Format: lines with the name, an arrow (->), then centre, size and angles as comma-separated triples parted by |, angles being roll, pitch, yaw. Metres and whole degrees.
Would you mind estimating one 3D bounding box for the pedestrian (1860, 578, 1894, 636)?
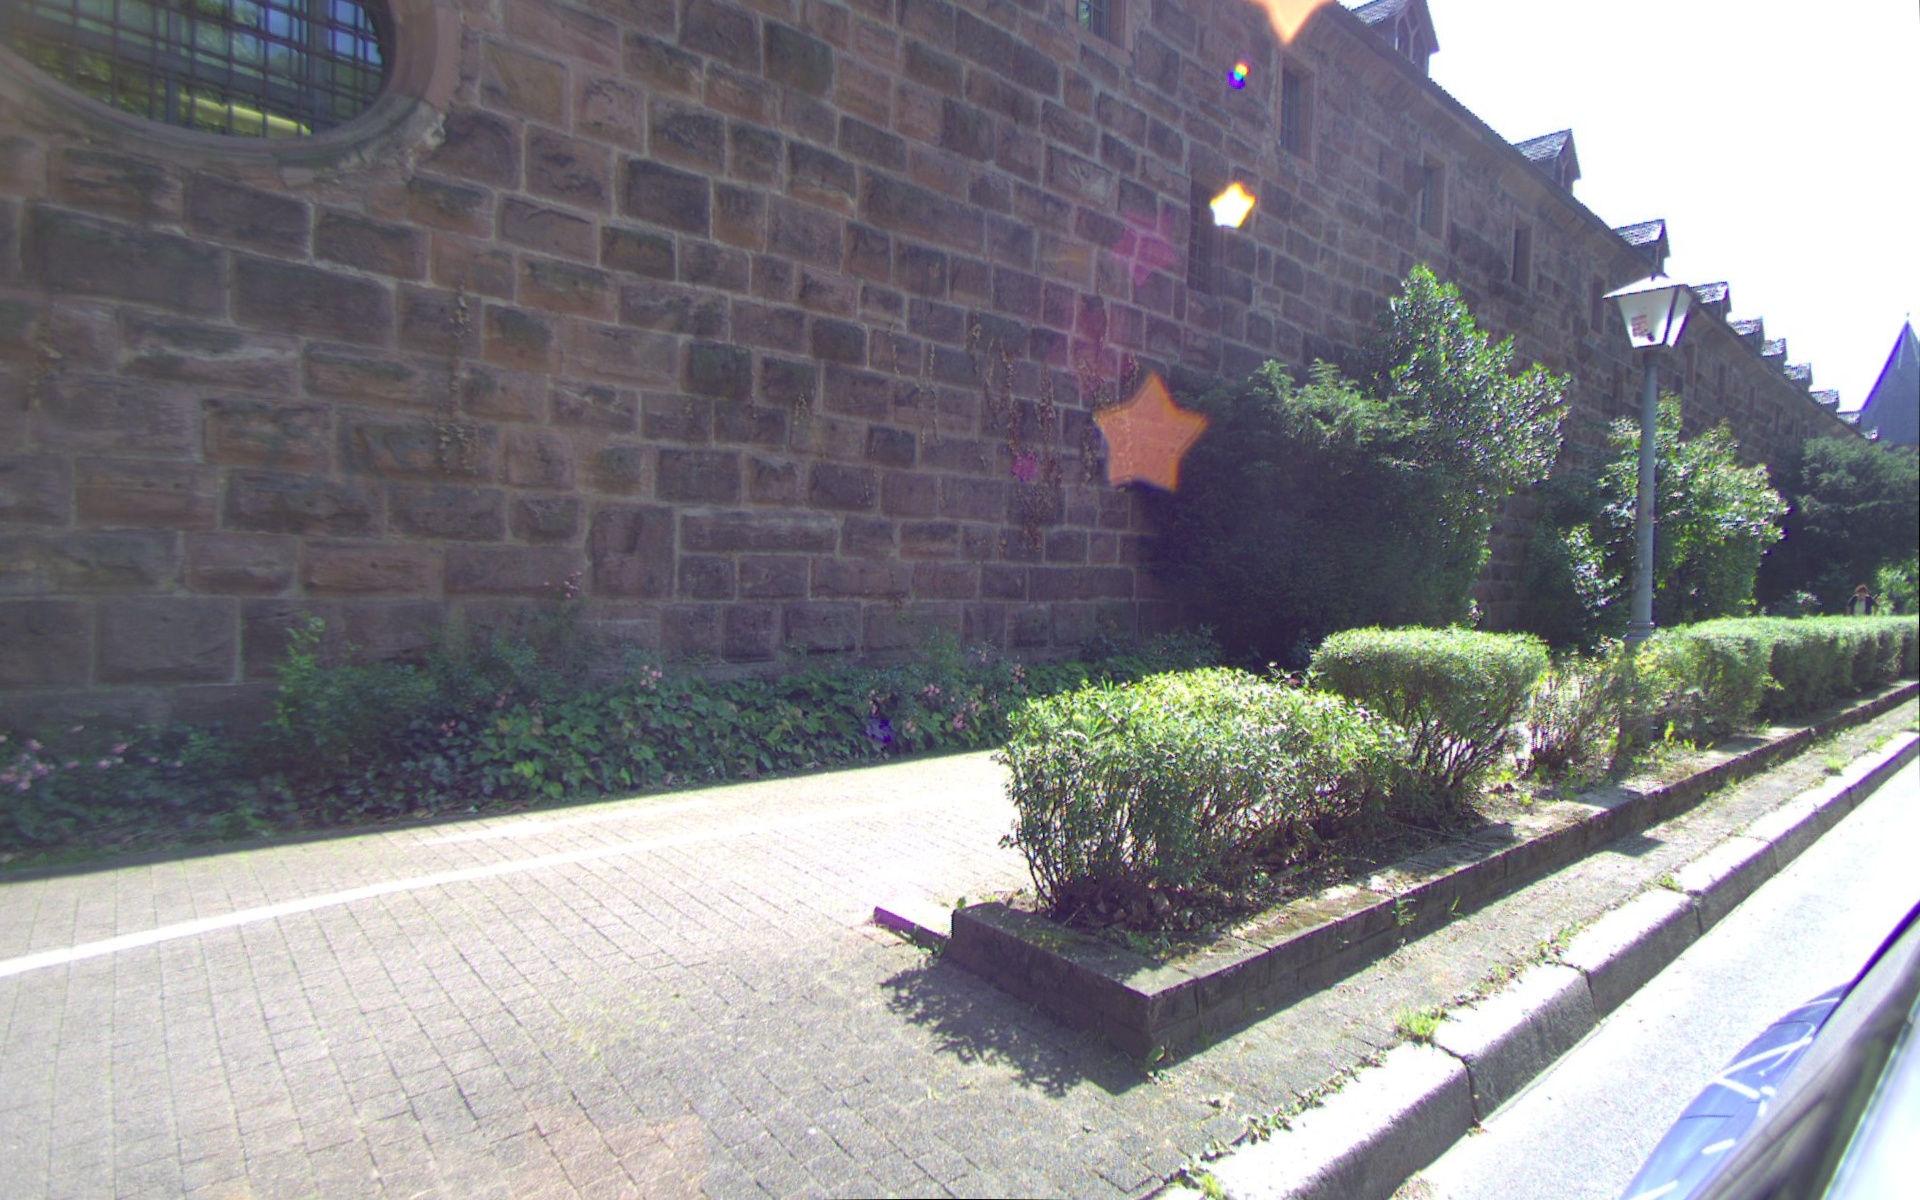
pedestrian -> 25.557, 0.185, 28.214 | 0.554, 1.583, 0.642 | 0, 0, -41
